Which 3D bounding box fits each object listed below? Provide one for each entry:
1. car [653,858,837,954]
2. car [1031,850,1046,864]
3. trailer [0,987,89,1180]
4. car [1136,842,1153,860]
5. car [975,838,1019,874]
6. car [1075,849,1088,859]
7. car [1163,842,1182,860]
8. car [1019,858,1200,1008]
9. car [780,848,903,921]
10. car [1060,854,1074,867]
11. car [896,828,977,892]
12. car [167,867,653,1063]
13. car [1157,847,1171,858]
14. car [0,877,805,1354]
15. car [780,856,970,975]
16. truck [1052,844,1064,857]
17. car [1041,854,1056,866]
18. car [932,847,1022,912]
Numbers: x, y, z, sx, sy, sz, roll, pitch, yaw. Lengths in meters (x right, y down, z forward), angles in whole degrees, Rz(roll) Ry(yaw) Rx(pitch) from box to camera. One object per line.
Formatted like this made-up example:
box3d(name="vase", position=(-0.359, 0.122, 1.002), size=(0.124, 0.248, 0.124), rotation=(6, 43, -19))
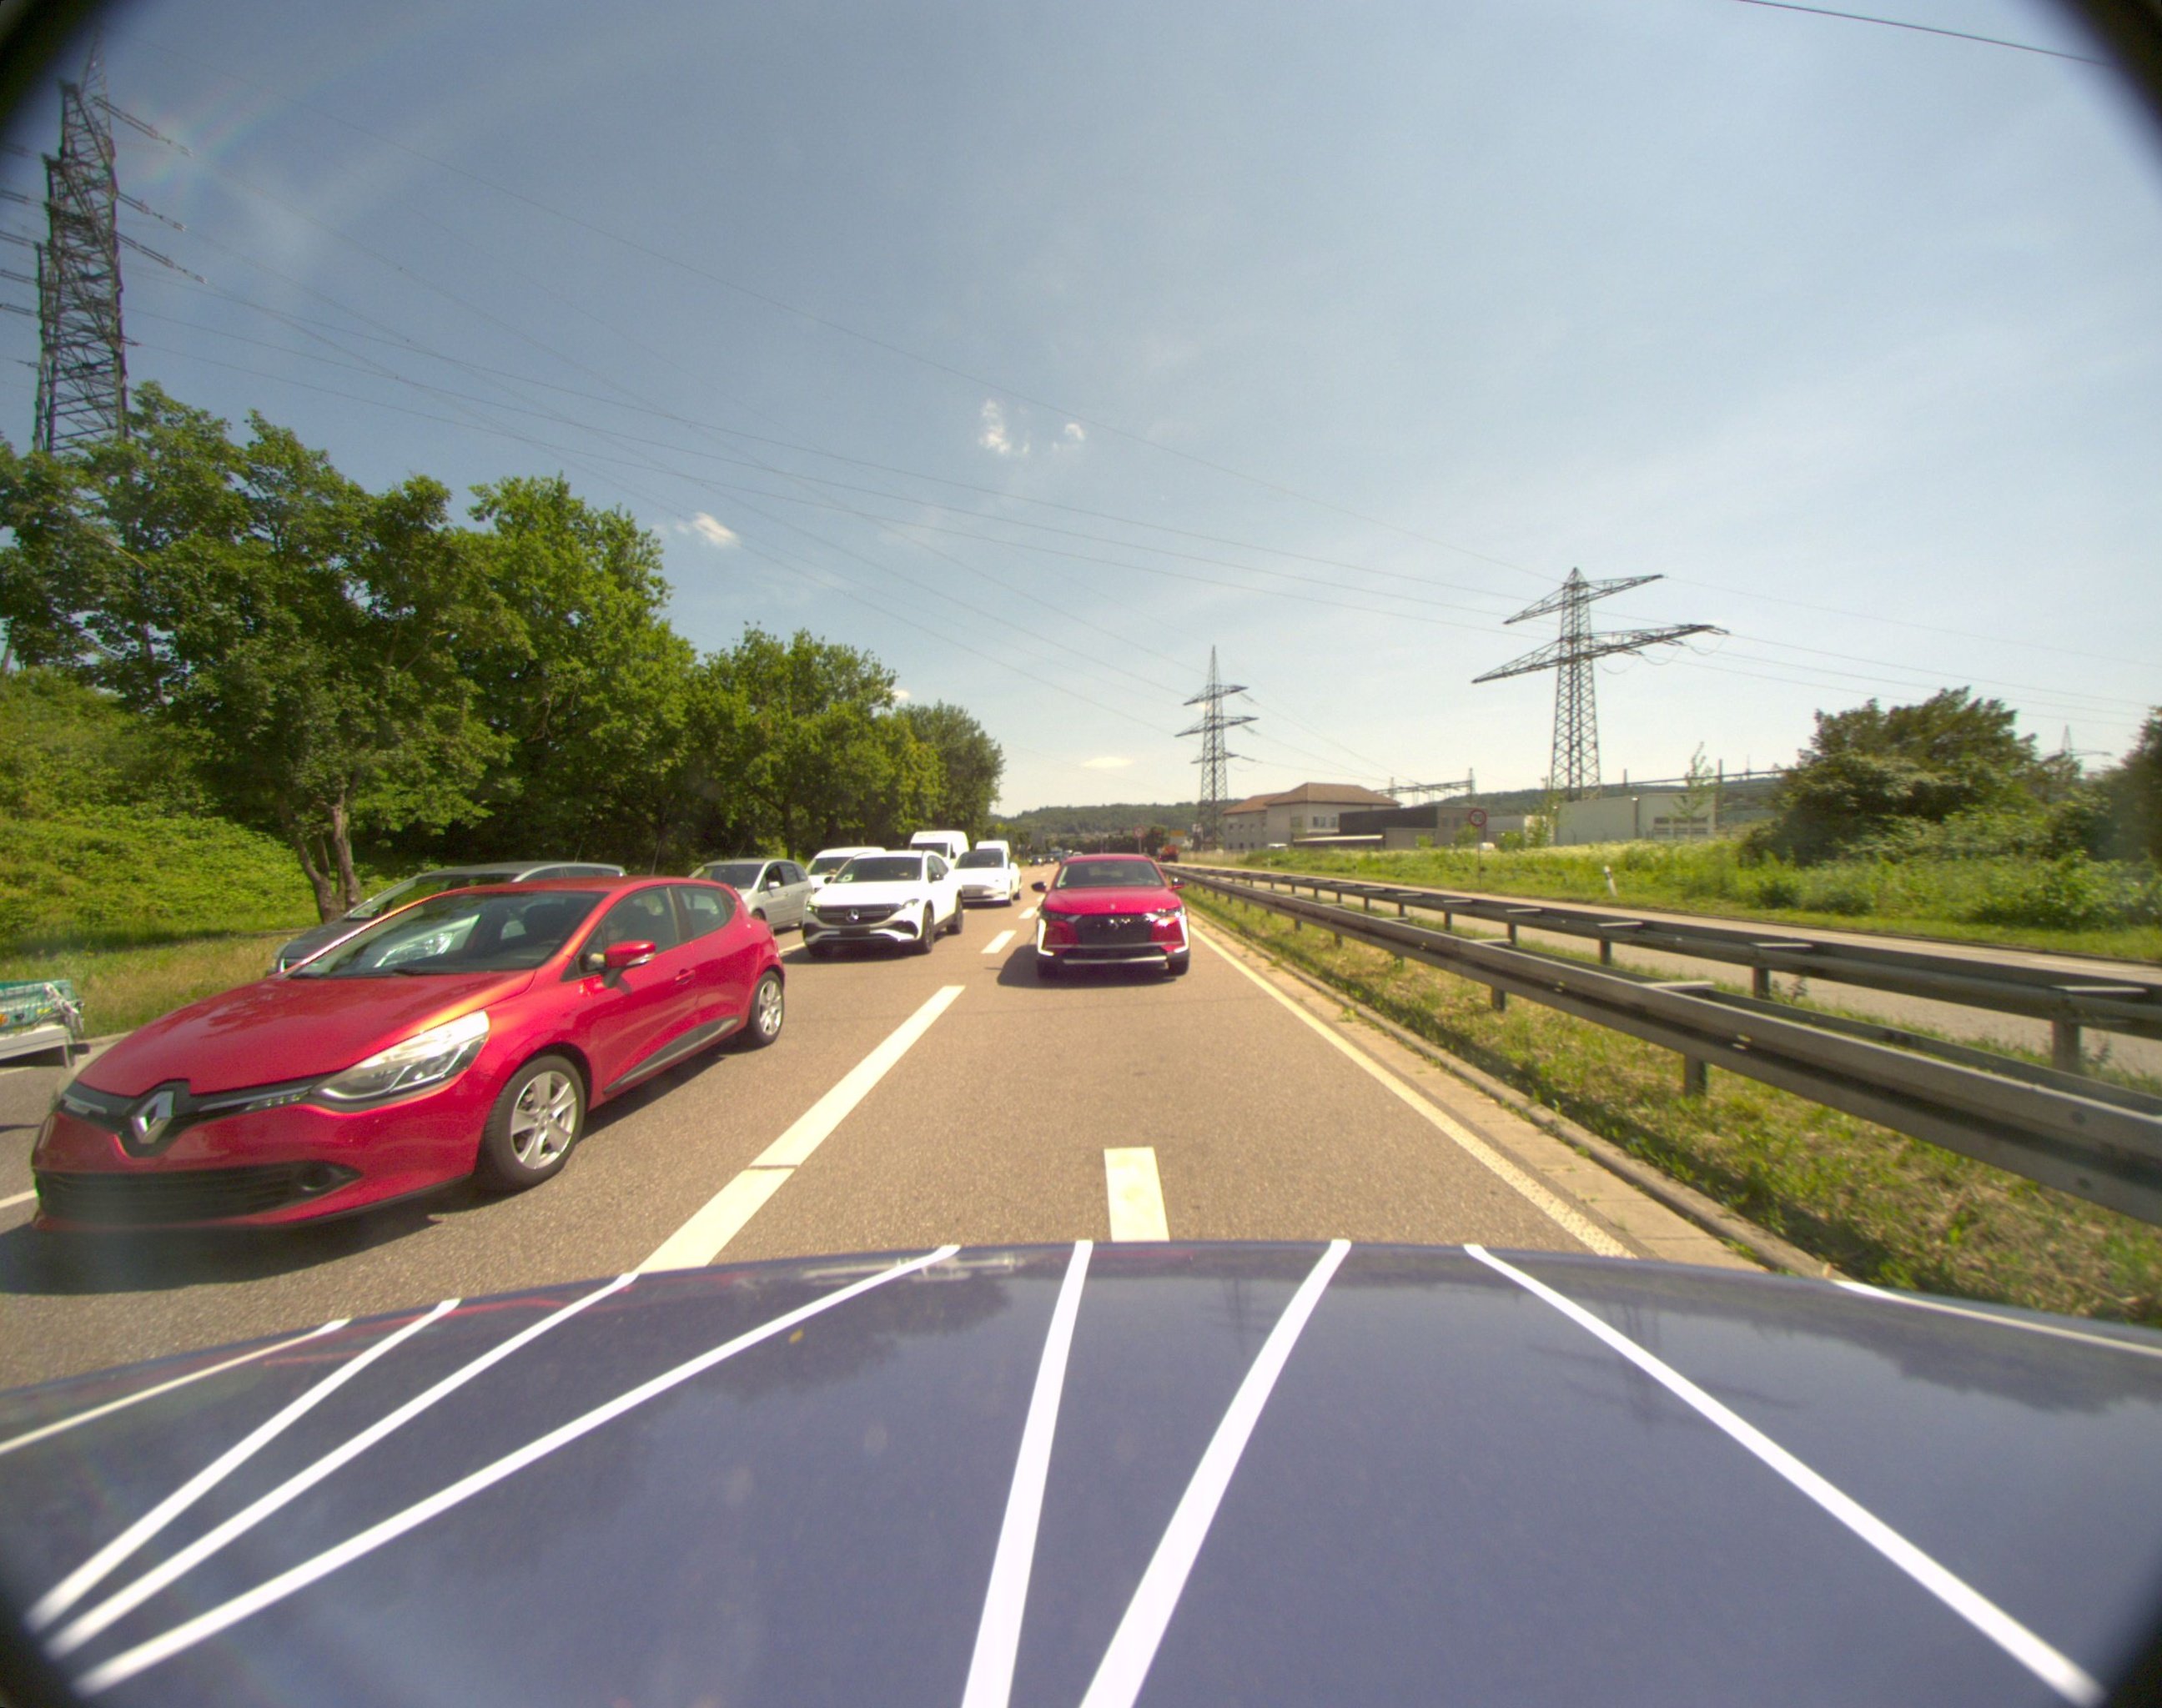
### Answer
box3d(name="car", position=(-6.650, 0.941, 15.625), size=(1.747, 1.585, 4.272), rotation=(-2, 1, 1))
box3d(name="car", position=(-5.783, 0.361, 103.708), size=(1.878, 1.674, 3.998), rotation=(-2, 1, -1))
box3d(name="trailer", position=(-6.872, 1.340, 2.917), size=(1.710, 1.001, 3.323), rotation=(-2, 0, 1))
box3d(name="car", position=(11.369, -0.549, 136.652), size=(2.607, 3.043, 5.638), rotation=(0, 1, 0))
box3d(name="car", position=(-5.985, 0.092, 54.945), size=(2.308, 2.408, 5.814), rotation=(-2, 1, 2))
box3d(name="car", position=(0.157, -0.025, 128.202), size=(1.998, 1.752, 4.000), rotation=(0, 1, 2))
box3d(name="car", position=(15.857, -0.548, 132.436), size=(2.607, 3.043, 5.638), rotation=(0, 1, 0))
box3d(name="car", position=(0.350, 0.841, 10.173), size=(1.846, 1.453, 4.414), rotation=(-2, 0, 1))
box3d(name="car", position=(-6.673, 0.764, 21.831), size=(1.809, 1.790, 5.037), rotation=(-2, 1, 1))
box3d(name="car", position=(-1.919, 0.852, 102.775), size=(1.878, 1.674, 3.998), rotation=(-2, 1, -1))
box3d(name="car", position=(-6.540, 0.222, 35.342), size=(2.232, 2.592, 7.018), rotation=(-2, 1, 1))
box3d(name="car", position=(-7.026, 1.010, 8.706), size=(1.769, 1.586, 4.165), rotation=(-1, 0, 1))
box3d(name="car", position=(15.547, -0.211, 142.110), size=(1.999, 1.904, 3.998), rotation=(-2, 1, -3))
box3d(name="car", position=(-3.345, 0.975, 4.648), size=(1.747, 1.453, 4.065), rotation=(-2, 1, 0))
box3d(name="car", position=(-3.195, 0.868, 12.780), size=(1.850, 1.559, 4.363), rotation=(-2, 1, 1))
box3d(name="truck", position=(-4.691, -0.777, 155.100), size=(2.170, 2.428, 4.909), rotation=(-2, 1, -1))
box3d(name="car", position=(-5.222, 0.989, 122.079), size=(1.998, 1.808, 3.999), rotation=(-2, 1, 1))
box3d(name="car", position=(-2.918, 0.658, 22.224), size=(2.022, 1.672, 3.999), rotation=(-2, 1, 0))
